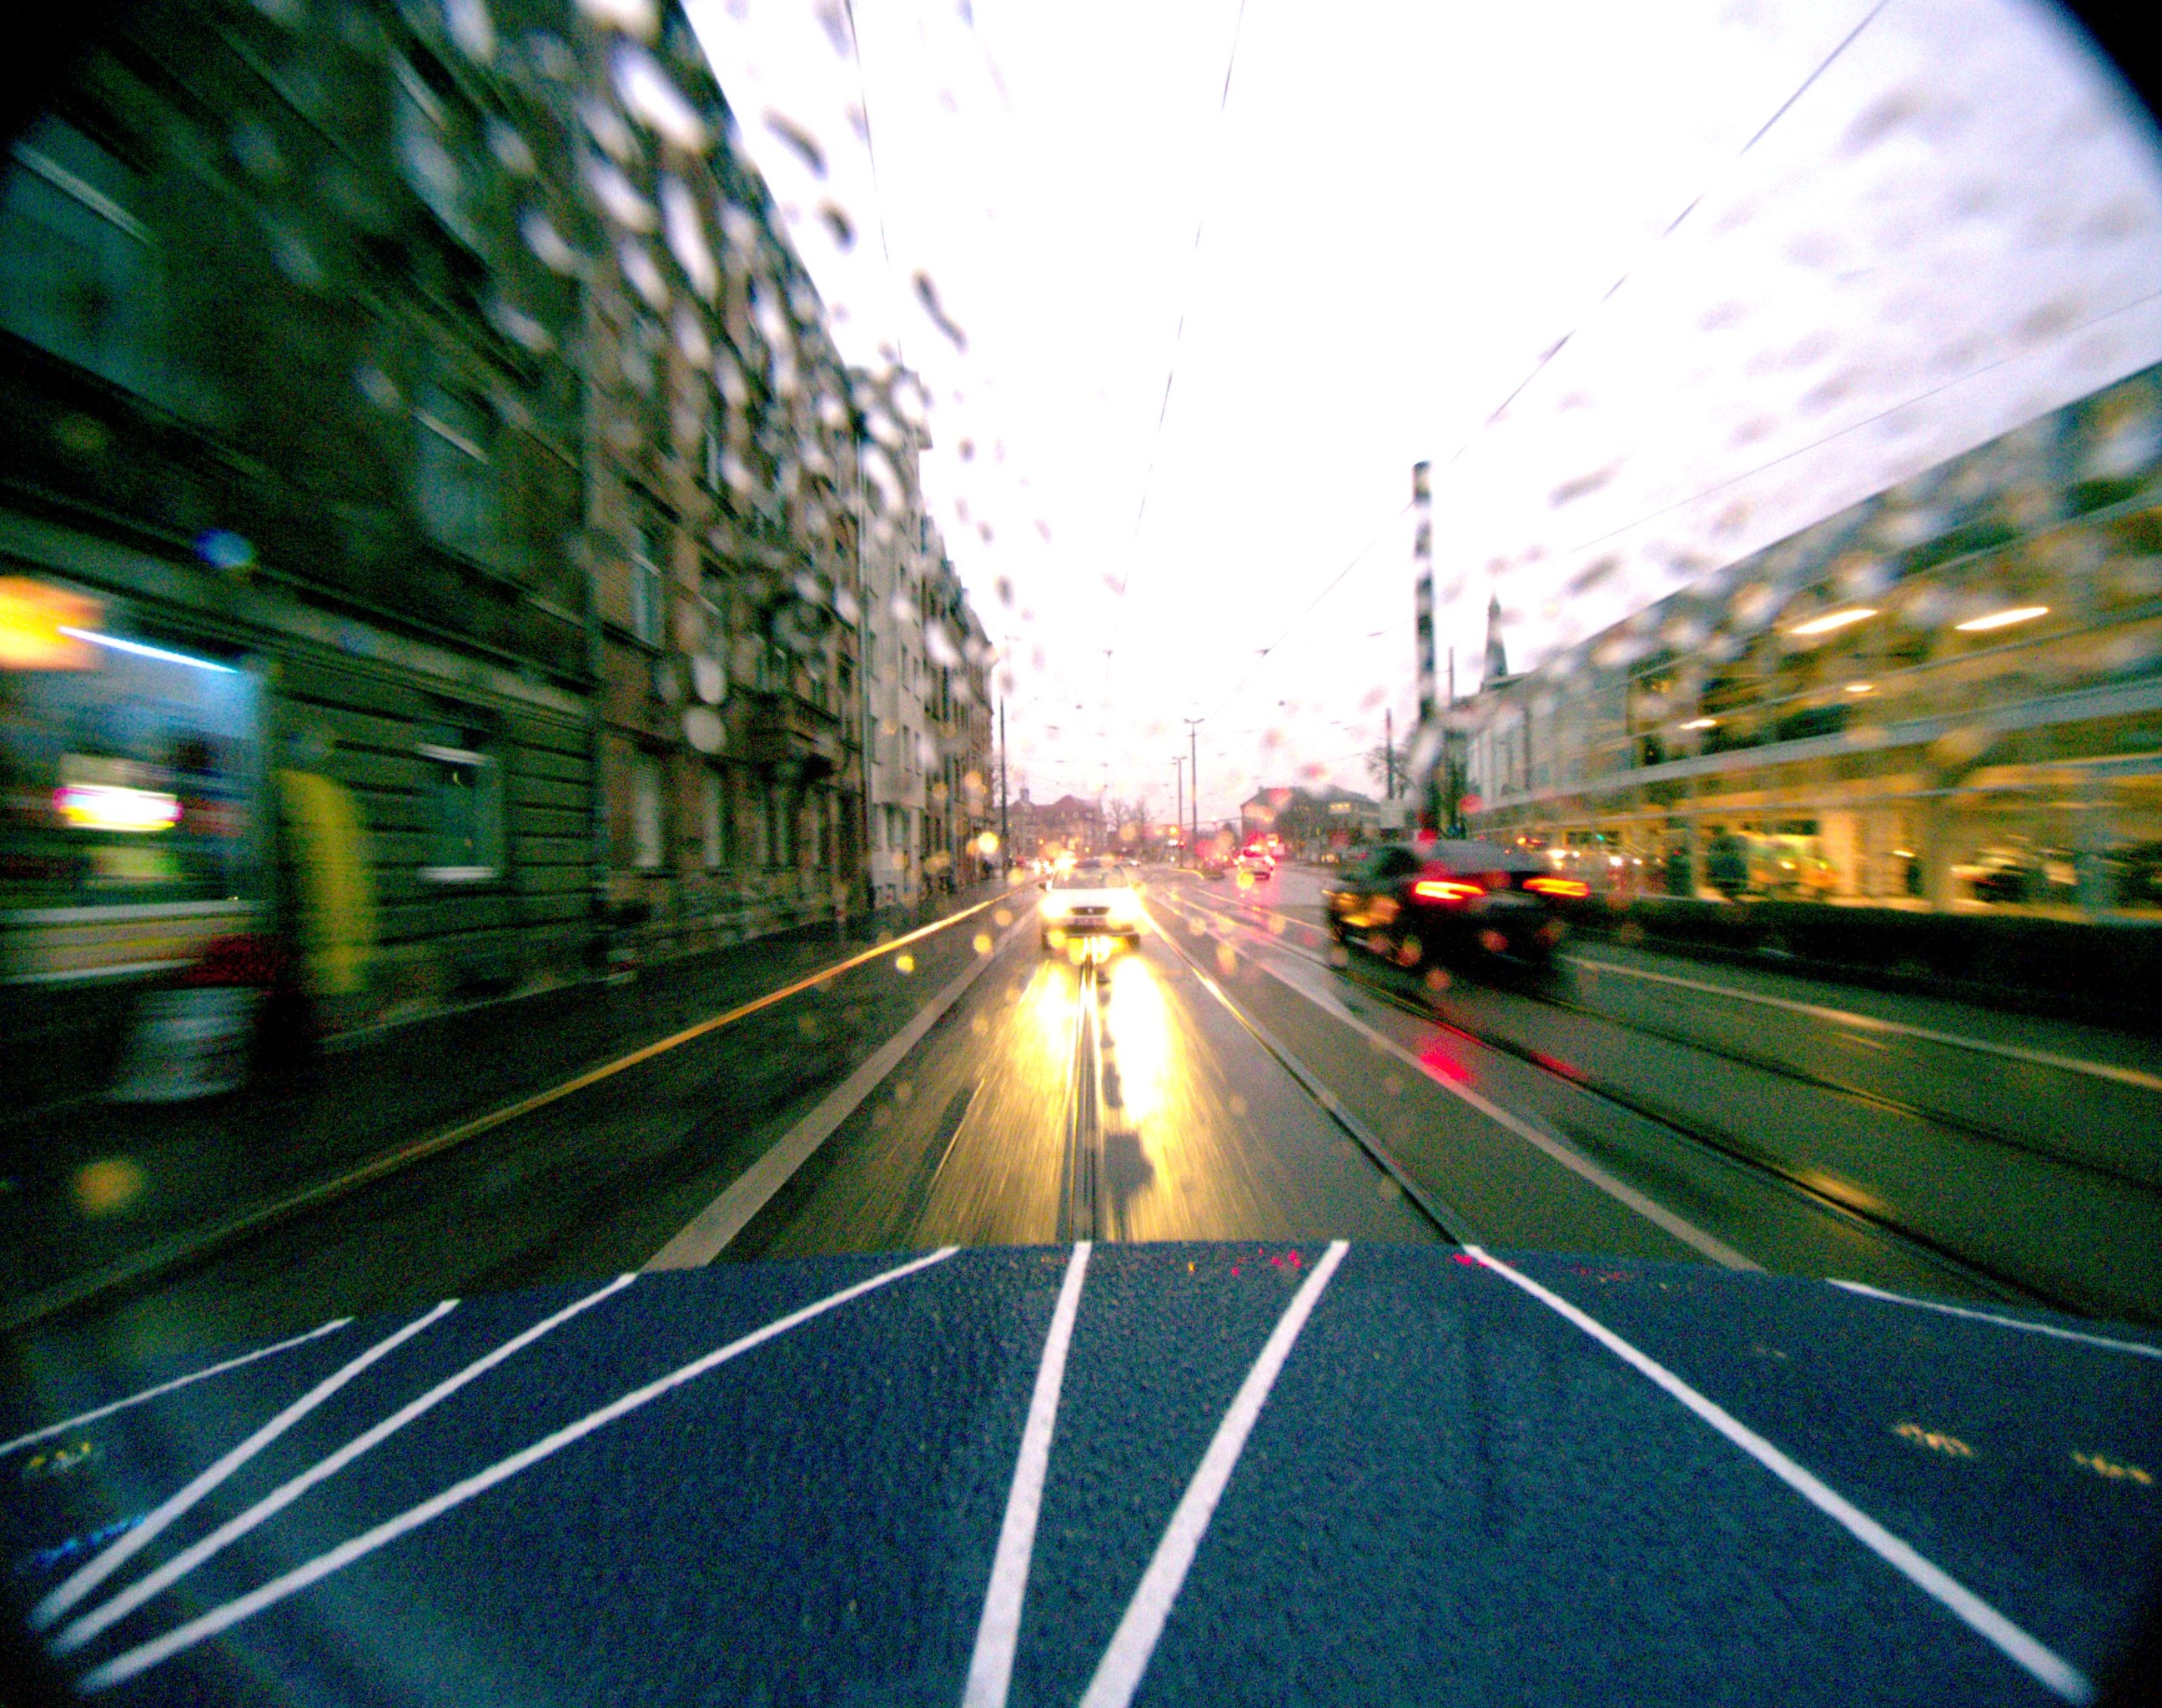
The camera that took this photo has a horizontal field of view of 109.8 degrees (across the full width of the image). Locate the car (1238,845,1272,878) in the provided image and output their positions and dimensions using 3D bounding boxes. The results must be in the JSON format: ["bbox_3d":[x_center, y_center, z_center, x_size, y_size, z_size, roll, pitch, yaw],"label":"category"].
[{"bbox_3d":[11.465,0.471,50.011,1.996,2.002,4.689,-1,1,13],"label":"car"}]

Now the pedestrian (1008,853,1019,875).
[{"bbox_3d":[-5.571,0.819,62.488,0.753,1.814,0.711,-1,1,4],"label":"pedestrian"}]

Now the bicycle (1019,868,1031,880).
[{"bbox_3d":[-3.671,1.298,49.903,0.609,0.757,1.860,-1,1,-1],"label":"bicycle"}]

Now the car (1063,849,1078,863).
[{"bbox_3d":[-1.441,0.233,106.957,2.018,1.809,3.688,-2,1,1],"label":"car"}]

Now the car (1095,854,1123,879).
[{"bbox_3d":[1.920,0.839,52.977,1.824,1.565,4.000,-1,0,0],"label":"car"}]

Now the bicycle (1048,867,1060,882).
[{"bbox_3d":[-1.887,1.471,53.773,0.725,0.985,2.212,-1,0,0],"label":"bicycle"}]

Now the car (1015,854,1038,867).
[{"bbox_3d":[-8.255,0.946,115.055,1.996,1.827,4.876,-1,0,14],"label":"car"}]

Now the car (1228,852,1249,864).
[{"bbox_3d":[18.309,0.480,88.379,1.728,1.350,4.001,-1,0,3],"label":"car"}]

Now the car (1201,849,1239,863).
[{"bbox_3d":[21.030,0.260,115.183,5.545,2.002,2.001,-2,1,9],"label":"car"}]

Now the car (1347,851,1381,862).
[{"bbox_3d":[38.790,0.346,104.146,2.003,1.302,3.990,-2,1,-35],"label":"car"}]

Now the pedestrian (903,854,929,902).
[{"bbox_3d":[-6.076,0.864,28.004,0.777,1.734,0.673,0,1,1],"label":"pedestrian"}]

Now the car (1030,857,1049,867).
[{"bbox_3d":[-6.650,1.297,122.599,1.825,1.499,3.809,-1,0,18],"label":"car"}]

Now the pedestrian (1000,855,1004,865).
[{"bbox_3d":[-13.829,1.110,132.962,0.638,1.752,0.510,-1,1,-11],"label":"pedestrian"}]

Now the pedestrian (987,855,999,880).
[{"bbox_3d":[-5.379,0.811,46.643,0.633,1.539,0.710,-1,1,0],"label":"pedestrian"}]

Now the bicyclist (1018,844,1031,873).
[{"bbox_3d":[-3.693,0.298,49.848,0.747,1.869,1.111,-1,1,-1],"label":"bicyclist"}]

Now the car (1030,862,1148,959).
[{"bbox_3d":[0.216,0.904,13.797,1.797,1.415,4.000,-1,0,3],"label":"car"}]

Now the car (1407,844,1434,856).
[{"bbox_3d":[56.438,-0.672,126.439,3.990,2.002,2.003,-1,1,27],"label":"car"}]

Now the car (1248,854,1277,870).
[{"bbox_3d":[17.587,0.788,73.712,1.998,1.413,4.588,-1,0,4],"label":"car"}]

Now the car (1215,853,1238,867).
[{"bbox_3d":[15.154,0.610,79.323,1.876,1.382,4.001,1,0,4],"label":"car"}]

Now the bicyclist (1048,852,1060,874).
[{"bbox_3d":[-1.912,0.656,53.781,0.727,1.525,0.785,-1,1,0],"label":"bicyclist"}]

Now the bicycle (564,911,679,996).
[{"bbox_3d":[-6.212,1.310,10.390,0.398,0.905,1.866,-1,0,1],"label":"bicycle"}]

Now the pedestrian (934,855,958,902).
[{"bbox_3d":[-5.084,0.913,28.676,0.777,1.734,0.673,0,1,1],"label":"pedestrian"}]

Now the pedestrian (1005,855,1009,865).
[{"bbox_3d":[-12.940,1.083,133.129,0.638,1.752,0.510,-1,1,-11],"label":"pedestrian"}]

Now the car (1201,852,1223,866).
[{"bbox_3d":[14.878,0.578,86.500,1.904,1.477,4.001,-1,0,3],"label":"car"}]

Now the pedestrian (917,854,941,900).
[{"bbox_3d":[-5.899,0.881,29.547,0.777,1.734,0.673,0,1,1],"label":"pedestrian"}]

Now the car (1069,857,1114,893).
[{"bbox_3d":[0.523,0.880,33.673,1.797,1.415,4.000,-1,0,3],"label":"car"}]

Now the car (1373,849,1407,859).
[{"bbox_3d":[44.040,0.055,108.311,2.003,1.302,3.990,-2,1,-35],"label":"car"}]

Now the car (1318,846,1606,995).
[{"bbox_3d":[4.746,0.704,10.314,1.845,1.569,4.443,-1,0,3],"label":"car"}]
